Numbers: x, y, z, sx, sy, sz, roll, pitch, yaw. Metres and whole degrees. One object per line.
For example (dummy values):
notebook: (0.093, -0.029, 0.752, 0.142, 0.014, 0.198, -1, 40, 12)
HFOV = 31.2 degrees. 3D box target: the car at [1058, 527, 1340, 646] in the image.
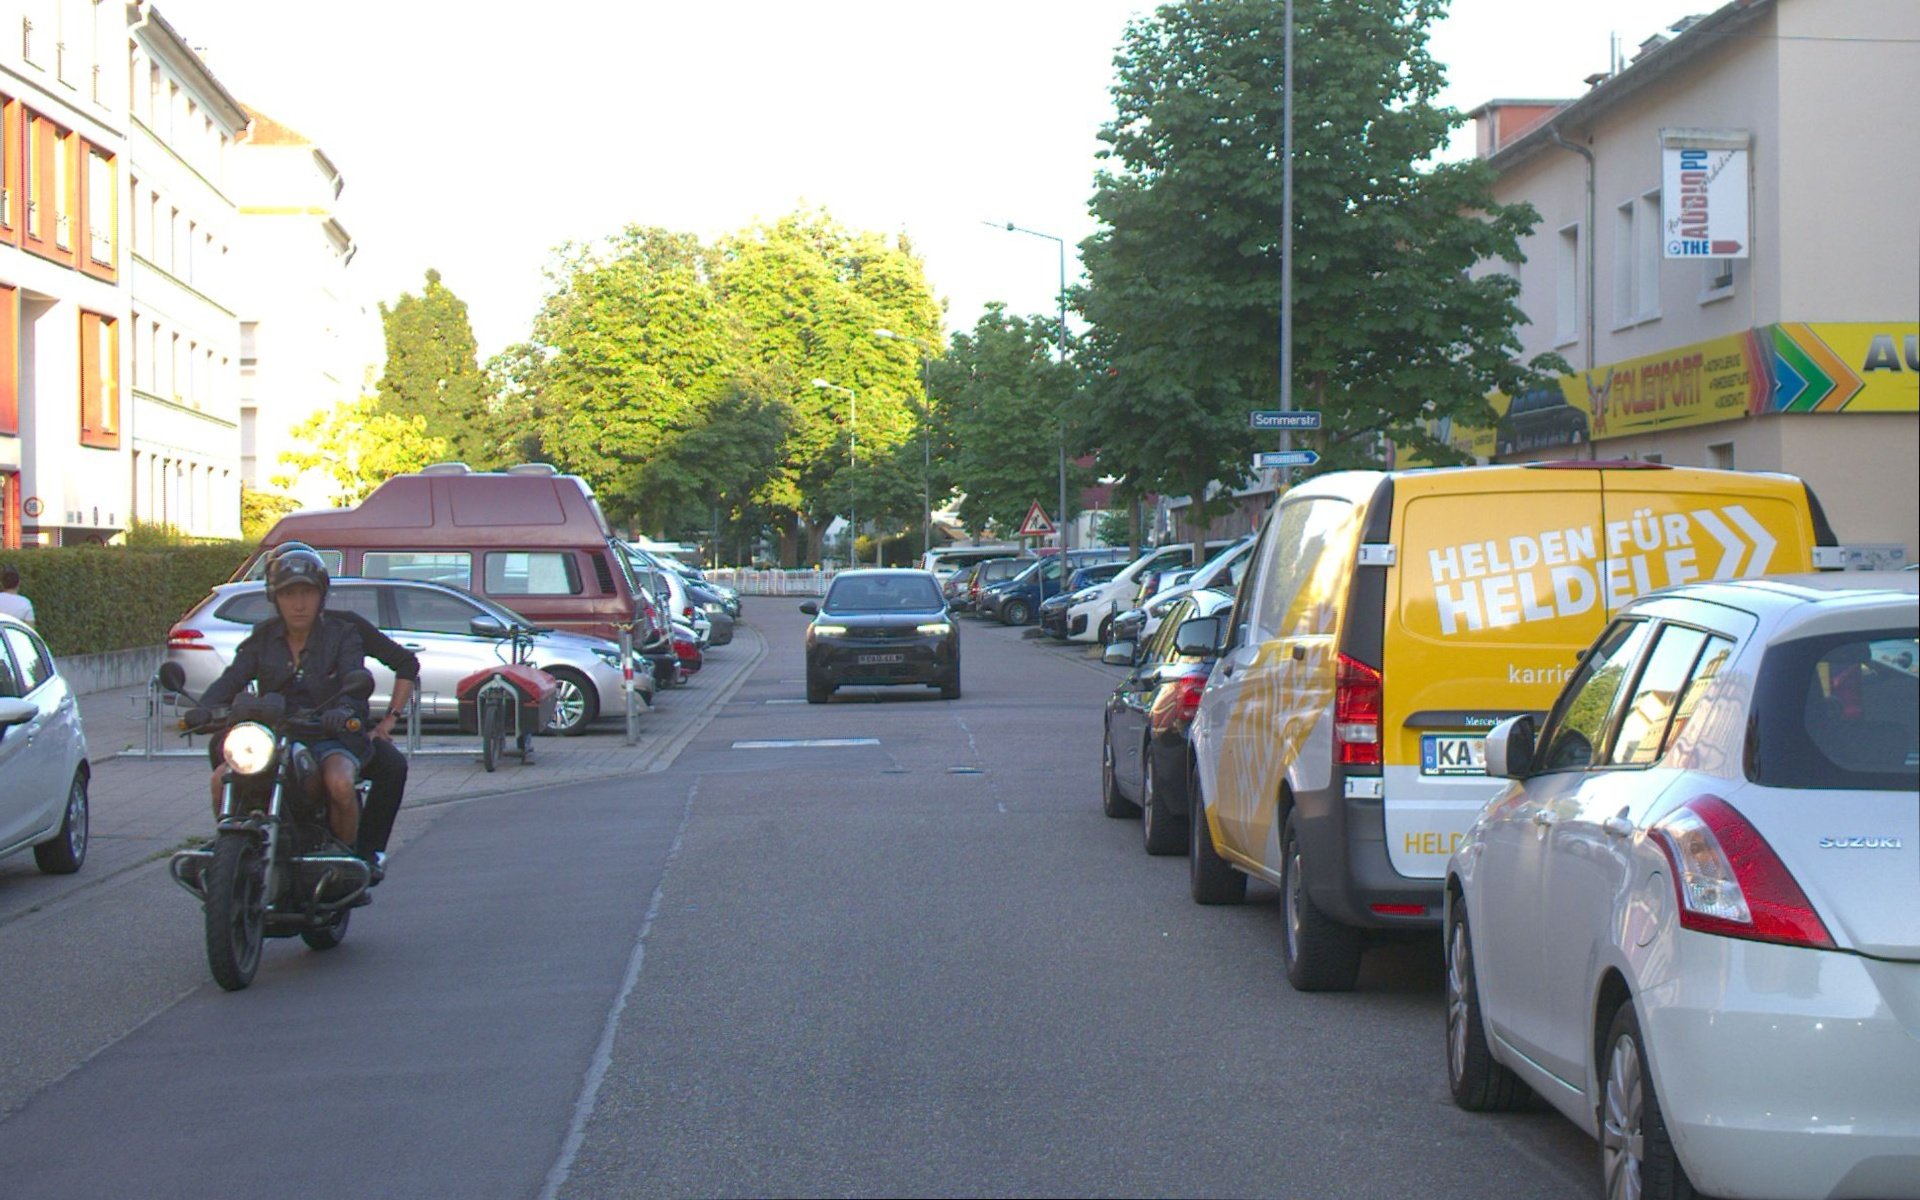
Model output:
car: (4.403, -0.256, 63.873, 4.943, 1.951, 2.049, -3, 1, -3)

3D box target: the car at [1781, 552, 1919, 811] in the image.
car: (6.149, 0.430, 19.434, 1.726, 1.419, 4.424, -2, 1, -3)

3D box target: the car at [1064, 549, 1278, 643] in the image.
car: (4.492, -0.098, 73.618, 4.316, 1.798, 1.811, -3, 1, -3)

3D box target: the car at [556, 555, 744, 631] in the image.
car: (-7.264, -0.170, 80.943, 4.256, 1.709, 2.000, 1, 1, -1)

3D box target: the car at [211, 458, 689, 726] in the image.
car: (-5.107, -0.089, 34.893, 4.511, 2.575, 2.000, 1, 1, 0)

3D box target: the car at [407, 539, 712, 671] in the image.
car: (-5.838, 0.061, 50.483, 4.256, 1.830, 2.000, 1, 1, -1)

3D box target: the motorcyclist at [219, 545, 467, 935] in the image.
motorcyclist: (-2.528, 0.563, 14.126, 0.787, 1.535, 0.545, -3, 0, 8)

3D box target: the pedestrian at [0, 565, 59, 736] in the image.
pedestrian: (-8.552, 0.440, 30.636, 0.832, 1.496, 0.798, 1, 0, -1)

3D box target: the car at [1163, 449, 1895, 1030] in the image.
car: (1.997, 0.424, 13.683, 1.893, 1.877, 5.082, 0, 1, -2)

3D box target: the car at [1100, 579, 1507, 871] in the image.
car: (1.811, 0.615, 19.349, 1.721, 1.419, 4.253, 1, 1, -2)

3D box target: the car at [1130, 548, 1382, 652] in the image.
car: (4.855, -0.009, 56.754, 3.911, 1.521, 1.939, -2, 1, 0)

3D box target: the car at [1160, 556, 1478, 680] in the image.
car: (4.754, 0.219, 45.819, 3.918, 1.446, 1.768, -3, 1, -4)

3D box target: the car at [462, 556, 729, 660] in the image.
car: (-6.038, 0.116, 57.310, 4.256, 1.646, 1.888, 1, 1, -1)

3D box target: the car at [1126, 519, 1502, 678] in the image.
car: (4.944, -0.036, 48.607, 4.989, 1.976, 2.220, -2, 1, -1)

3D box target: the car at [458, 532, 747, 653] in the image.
car: (-6.185, -0.139, 59.861, 4.850, 2.014, 1.906, 1, 1, -1)

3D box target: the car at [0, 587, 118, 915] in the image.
car: (-5.446, 0.710, 17.424, 1.650, 1.525, 4.018, 0, 1, -4)

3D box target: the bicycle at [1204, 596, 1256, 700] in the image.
bicycle: (3.264, 0.562, 41.639, 0.386, 1.196, 2.017, -2, 1, -1)

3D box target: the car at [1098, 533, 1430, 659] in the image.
car: (4.720, -0.074, 53.949, 4.944, 1.736, 2.049, -2, 1, 0)

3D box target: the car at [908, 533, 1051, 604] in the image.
car: (0.566, -0.935, 101.722, 3.967, 1.905, 2.050, -3, 1, -6)

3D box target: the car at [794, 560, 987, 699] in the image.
car: (-0.768, 0.308, 40.639, 1.780, 1.512, 3.999, -2, 1, 6)

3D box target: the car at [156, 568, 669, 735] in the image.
car: (-5.065, 0.464, 32.321, 4.615, 1.455, 1.881, 1, 1, -5)

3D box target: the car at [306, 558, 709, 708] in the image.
car: (-4.876, 0.339, 37.470, 4.208, 1.533, 1.791, 1, 1, -3)

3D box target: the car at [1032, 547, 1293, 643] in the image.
car: (4.006, -0.115, 68.702, 4.943, 1.683, 2.077, -3, 1, -3)

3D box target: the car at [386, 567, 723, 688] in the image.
car: (-5.271, 0.343, 45.074, 4.209, 1.485, 1.850, 1, 1, -1)

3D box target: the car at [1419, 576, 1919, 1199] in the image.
car: (2.193, 0.687, 8.418, 1.674, 1.472, 3.862, 0, 1, 1)

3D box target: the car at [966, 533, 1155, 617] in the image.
car: (2.493, -0.627, 86.145, 4.478, 1.905, 1.688, -3, 1, -6)

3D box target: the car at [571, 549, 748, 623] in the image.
car: (-7.456, -0.354, 85.712, 4.256, 1.743, 2.000, 1, 1, -1)

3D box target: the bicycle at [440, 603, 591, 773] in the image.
bicycle: (-3.467, 0.659, 27.051, 0.807, 1.217, 2.865, 1, 1, 0)

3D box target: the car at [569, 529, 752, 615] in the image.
car: (-7.678, -0.719, 88.343, 4.533, 2.127, 2.000, 1, 1, -1)

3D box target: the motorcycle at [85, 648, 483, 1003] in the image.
motorcycle: (-2.620, 0.844, 13.616, 0.846, 1.205, 2.074, -3, 0, 8)

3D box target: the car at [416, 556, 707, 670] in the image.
car: (-6.095, 0.187, 52.953, 4.256, 1.655, 2.000, 1, 1, -1)

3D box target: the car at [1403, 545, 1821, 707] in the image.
car: (6.852, 0.254, 36.421, 4.050, 1.509, 1.756, -2, 2, 0)

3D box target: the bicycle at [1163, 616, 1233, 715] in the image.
bicycle: (2.857, 0.773, 41.448, 0.438, 1.126, 2.018, -2, 1, -7)

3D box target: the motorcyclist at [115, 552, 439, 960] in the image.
motorcyclist: (-2.651, 0.587, 13.447, 0.890, 1.500, 0.969, -3, 0, 8)
